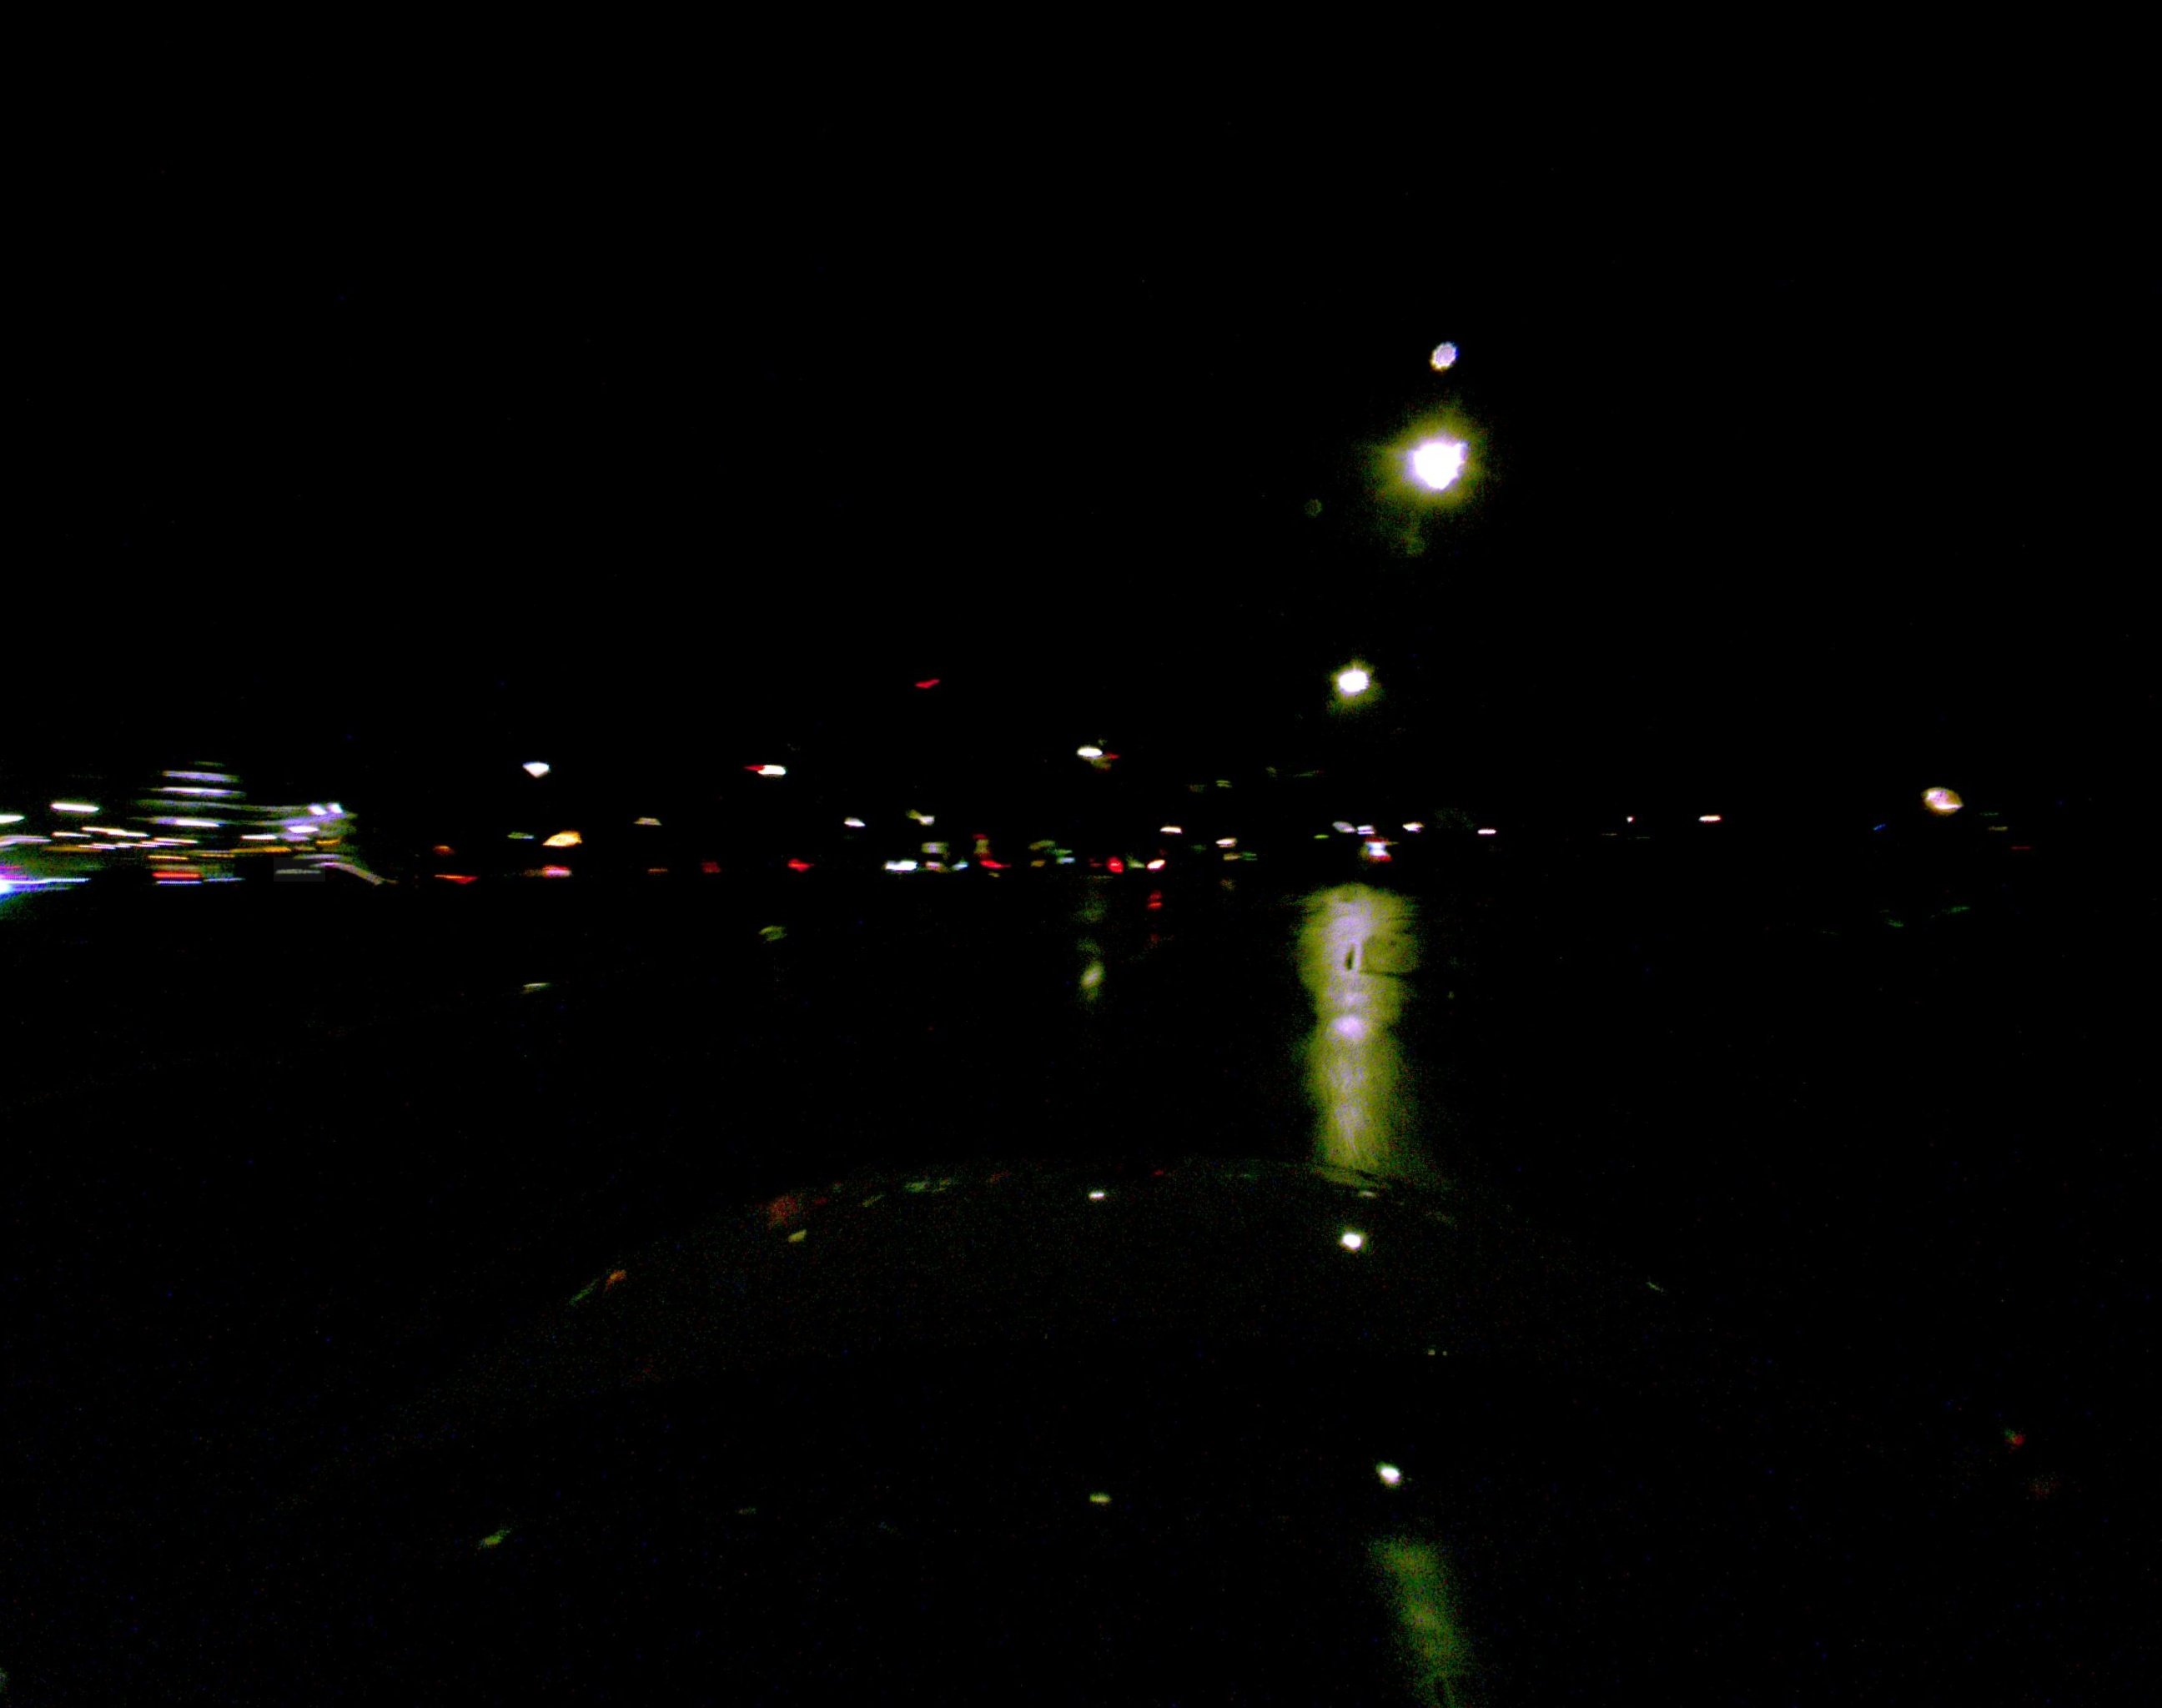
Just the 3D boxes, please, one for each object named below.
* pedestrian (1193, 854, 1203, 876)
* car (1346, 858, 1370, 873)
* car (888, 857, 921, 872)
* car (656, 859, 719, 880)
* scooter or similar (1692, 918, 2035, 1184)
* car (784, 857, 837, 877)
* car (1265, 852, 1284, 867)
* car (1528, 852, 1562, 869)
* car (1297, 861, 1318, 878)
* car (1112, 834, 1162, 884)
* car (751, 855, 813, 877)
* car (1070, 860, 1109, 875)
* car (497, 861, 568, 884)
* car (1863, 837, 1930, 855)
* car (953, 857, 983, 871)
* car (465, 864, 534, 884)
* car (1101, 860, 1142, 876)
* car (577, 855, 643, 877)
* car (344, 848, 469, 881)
[{"bbox_3d":[10.253,0.995,71.462,0.651,1.902,0.727,1,-1,-6],"label":"pedestrian"},{"bbox_3d":[27.415,1.123,80.772,1.705,1.497,3.923,0,-1,11],"label":"car"},{"bbox_3d":[-20.561,1.238,95.197,1.841,1.640,3.912,0,-1,23],"label":"car"},{"bbox_3d":[-29.859,1.155,61.939,3.955,1.579,1.869,1,-1,-13],"label":"car"},{"bbox_3d":[3.501,0.860,3.702,1.094,1.098,0.319,-2,-1,10],"label":"scooter or similar"},{"bbox_3d":[-21.786,1.040,65.685,3.596,1.579,1.741,0,-1,8],"label":"car"},{"bbox_3d":[19.616,0.567,82.496,1.705,1.497,3.923,0,-1,11],"label":"car"},{"bbox_3d":[44.288,0.609,77.836,1.705,1.536,3.923,0,-1,11],"label":"car"},{"bbox_3d":[22.528,1.533,81.238,1.705,1.497,3.922,-1,-4,11],"label":"car"},{"bbox_3d":[2.489,0.226,35.333,1.983,2.014,4.565,0,-1,6],"label":"car"},{"bbox_3d":[-22.916,0.943,62.531,3.971,1.616,1.837,0,-1,2],"label":"car"},{"bbox_3d":[0.976,1.532,92.108,4.027,1.682,1.798,0,-1,12],"label":"car"},{"bbox_3d":[-39.906,1.331,59.405,4.006,1.616,1.822,1,-1,-25],"label":"car"},{"bbox_3d":[72.505,-0.665,72.529,1.705,1.536,5.010,0,-1,11],"label":"car"},{"bbox_3d":[-15.188,1.346,109.622,1.976,1.736,4.644,0,-1,22],"label":"car"},{"bbox_3d":[-44.077,1.511,61.848,4.007,1.486,1.754,1,-1,-26],"label":"car"},{"bbox_3d":[4.315,1.453,86.874,3.954,1.684,1.928,0,-1,19],"label":"car"},{"bbox_3d":[-35.045,0.907,60.658,3.963,1.579,1.726,1,-1,-19],"label":"car"},{"bbox_3d":[-45.604,0.719,55.194,6.348,2.089,2.485,1,-1,-42],"label":"car"}]
